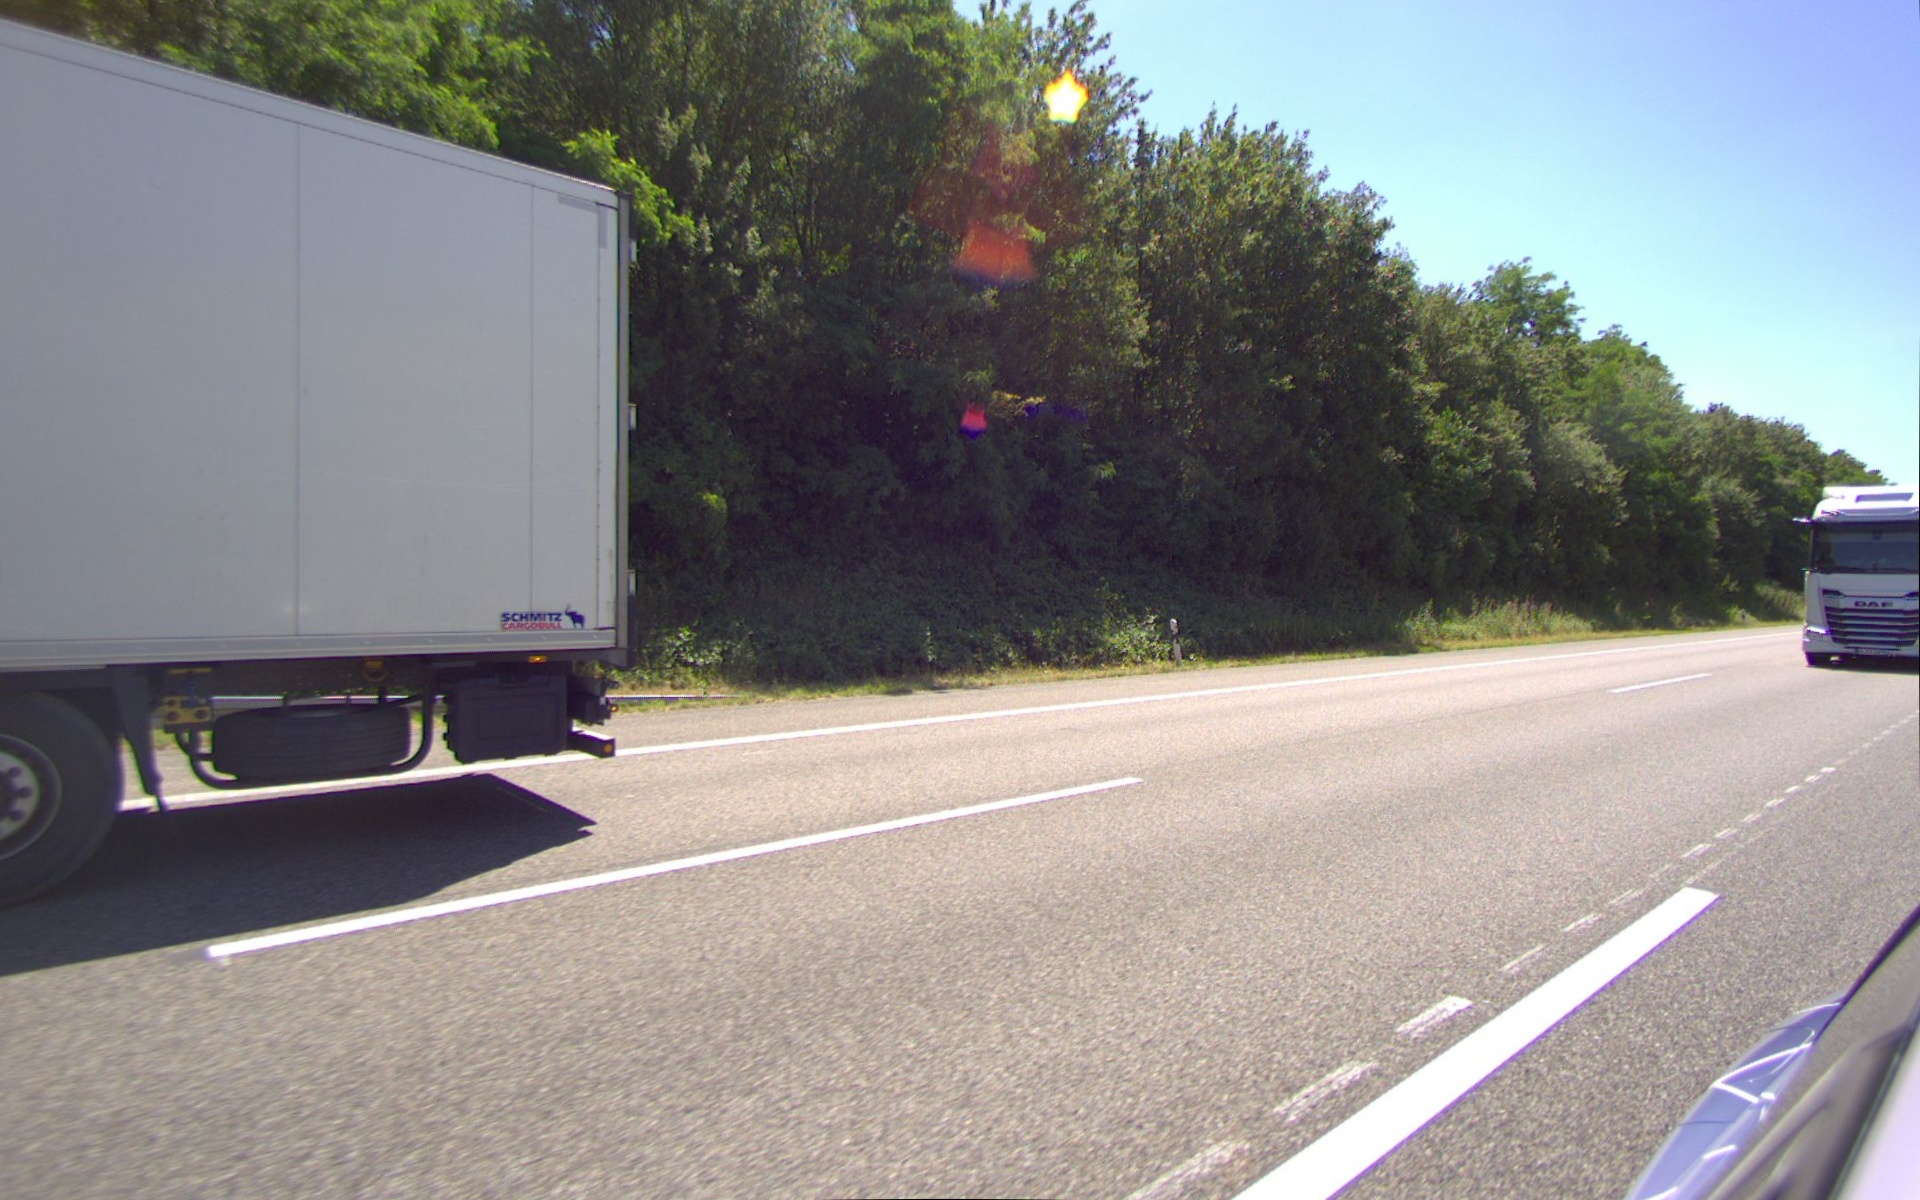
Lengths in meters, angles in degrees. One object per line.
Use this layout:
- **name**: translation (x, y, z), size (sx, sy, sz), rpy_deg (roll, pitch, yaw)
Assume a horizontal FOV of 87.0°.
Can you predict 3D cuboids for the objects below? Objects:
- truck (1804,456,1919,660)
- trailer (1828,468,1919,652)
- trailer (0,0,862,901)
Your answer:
- **truck**: translation (21.316, -0.864, 22.824), size (5.944, 4.121, 2.681), rpy_deg (0, 0, -42)
- **trailer**: translation (26.407, -0.939, 27.409), size (13.597, 4.121, 2.681), rpy_deg (0, 0, -42)
- **trailer**: translation (-6.791, -0.814, 4.224), size (13.597, 4.278, 3.044), rpy_deg (0, 0, -42)
